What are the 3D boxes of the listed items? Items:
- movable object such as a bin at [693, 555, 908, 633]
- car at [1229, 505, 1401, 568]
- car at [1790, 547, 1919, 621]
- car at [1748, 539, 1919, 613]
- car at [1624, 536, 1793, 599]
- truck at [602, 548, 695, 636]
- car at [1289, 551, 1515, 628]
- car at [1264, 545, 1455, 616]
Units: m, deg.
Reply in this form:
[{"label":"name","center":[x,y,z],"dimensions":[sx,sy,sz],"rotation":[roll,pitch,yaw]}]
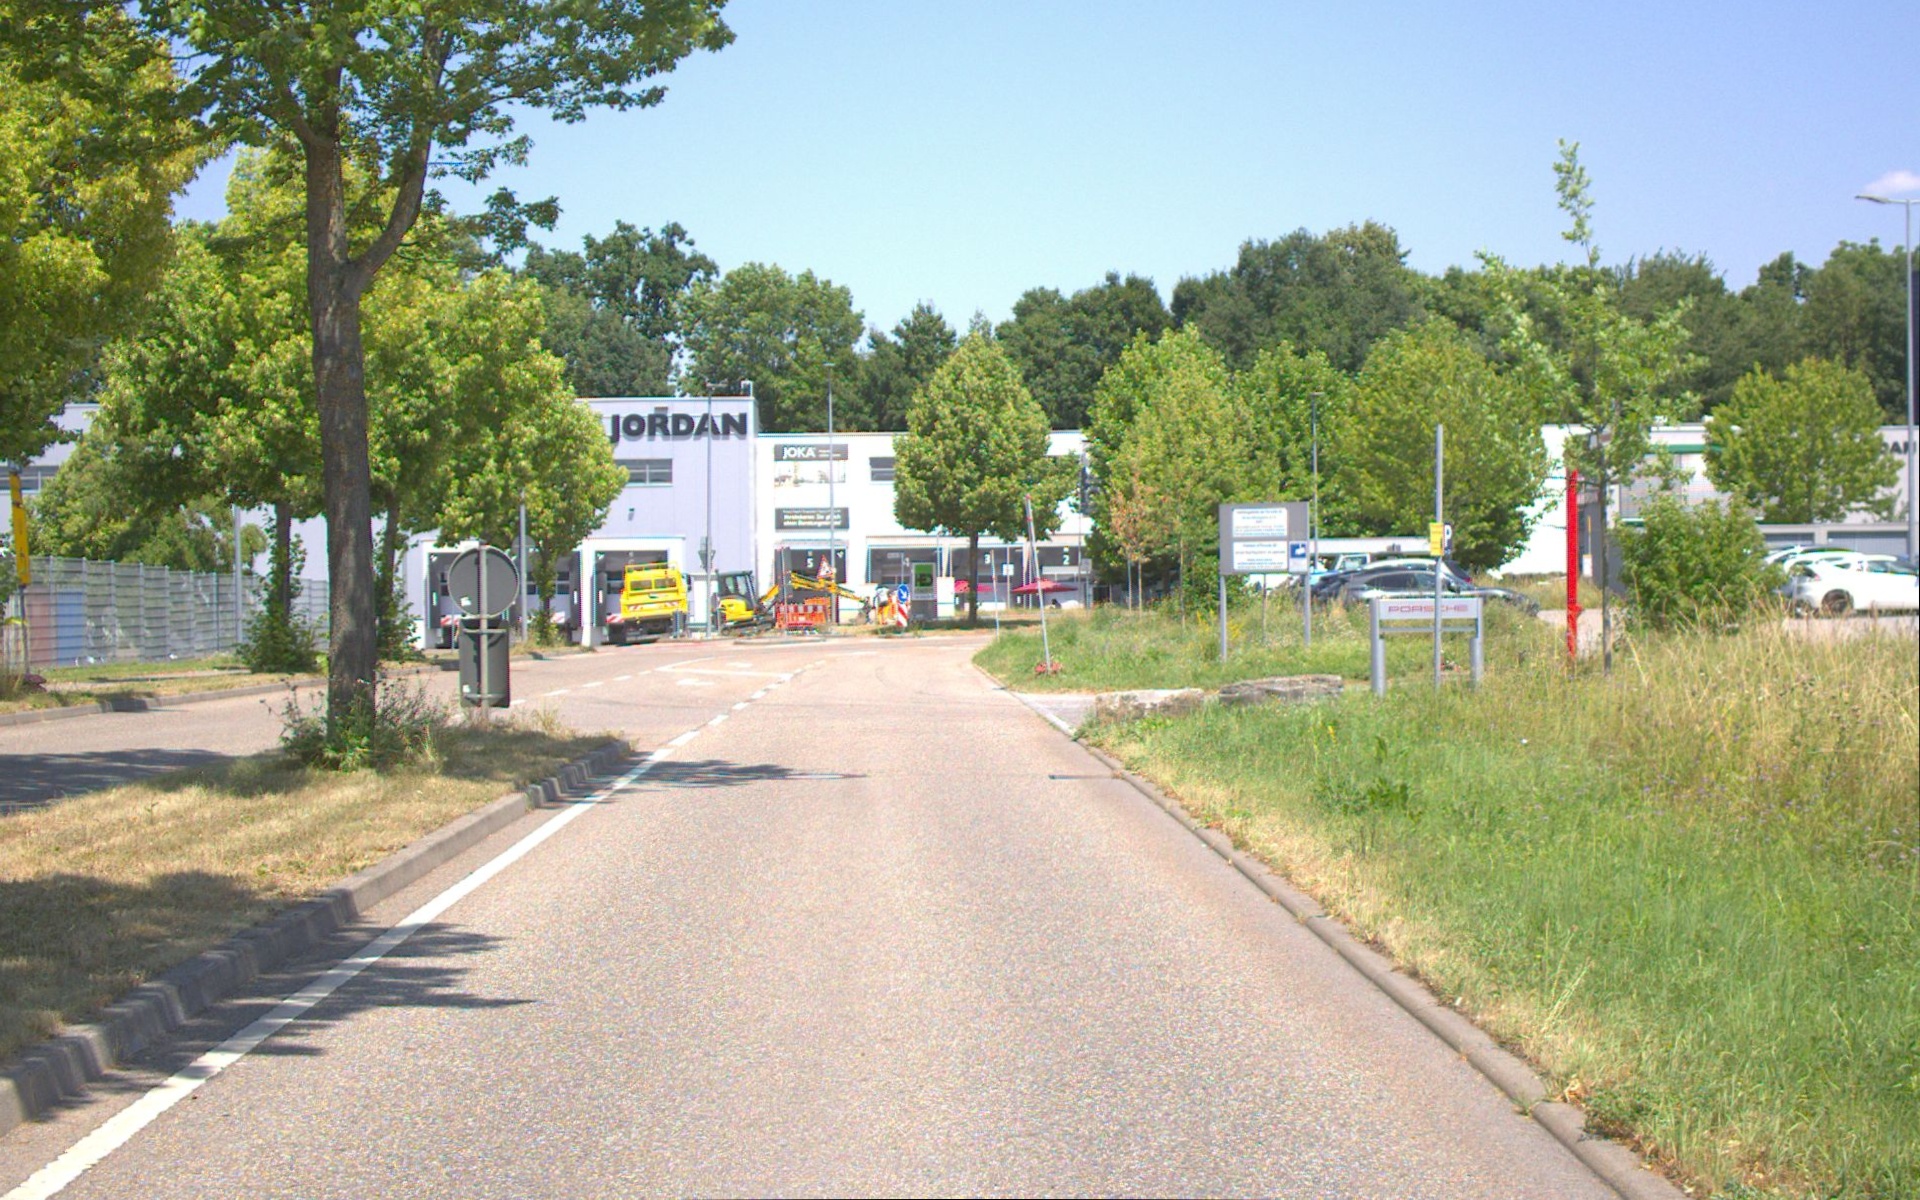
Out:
[{"label":"movable object such as a bin","center":[-6.012,-0.239,130.261],"dimensions":[7.528,2.491,3.666],"rotation":[-2,4,7]},{"label":"car","center":[9.218,-1.664,89.494],"dimensions":[4.162,1.395,1.769],"rotation":[-3,4,-4]},{"label":"car","center":[20.413,-0.381,75.214],"dimensions":[3.986,1.395,1.769],"rotation":[-3,4,-3]},{"label":"car","center":[20.041,-0.555,77.680],"dimensions":[3.986,1.395,1.769],"rotation":[-3,4,-4]},{"label":"car","center":[19.810,-0.880,91.080],"dimensions":[3.986,1.395,1.769],"rotation":[-3,4,-4]},{"label":"truck","center":[-11.859,-0.331,130.429],"dimensions":[2.938,2.876,5.812],"rotation":[-3,4,-9]},{"label":"car","center":[9.703,-0.243,75.676],"dimensions":[4.704,1.395,1.922],"rotation":[-2,4,1]},{"label":"car","center":[9.408,-0.474,81.084],"dimensions":[4.162,1.395,1.769],"rotation":[-3,4,-4]}]
